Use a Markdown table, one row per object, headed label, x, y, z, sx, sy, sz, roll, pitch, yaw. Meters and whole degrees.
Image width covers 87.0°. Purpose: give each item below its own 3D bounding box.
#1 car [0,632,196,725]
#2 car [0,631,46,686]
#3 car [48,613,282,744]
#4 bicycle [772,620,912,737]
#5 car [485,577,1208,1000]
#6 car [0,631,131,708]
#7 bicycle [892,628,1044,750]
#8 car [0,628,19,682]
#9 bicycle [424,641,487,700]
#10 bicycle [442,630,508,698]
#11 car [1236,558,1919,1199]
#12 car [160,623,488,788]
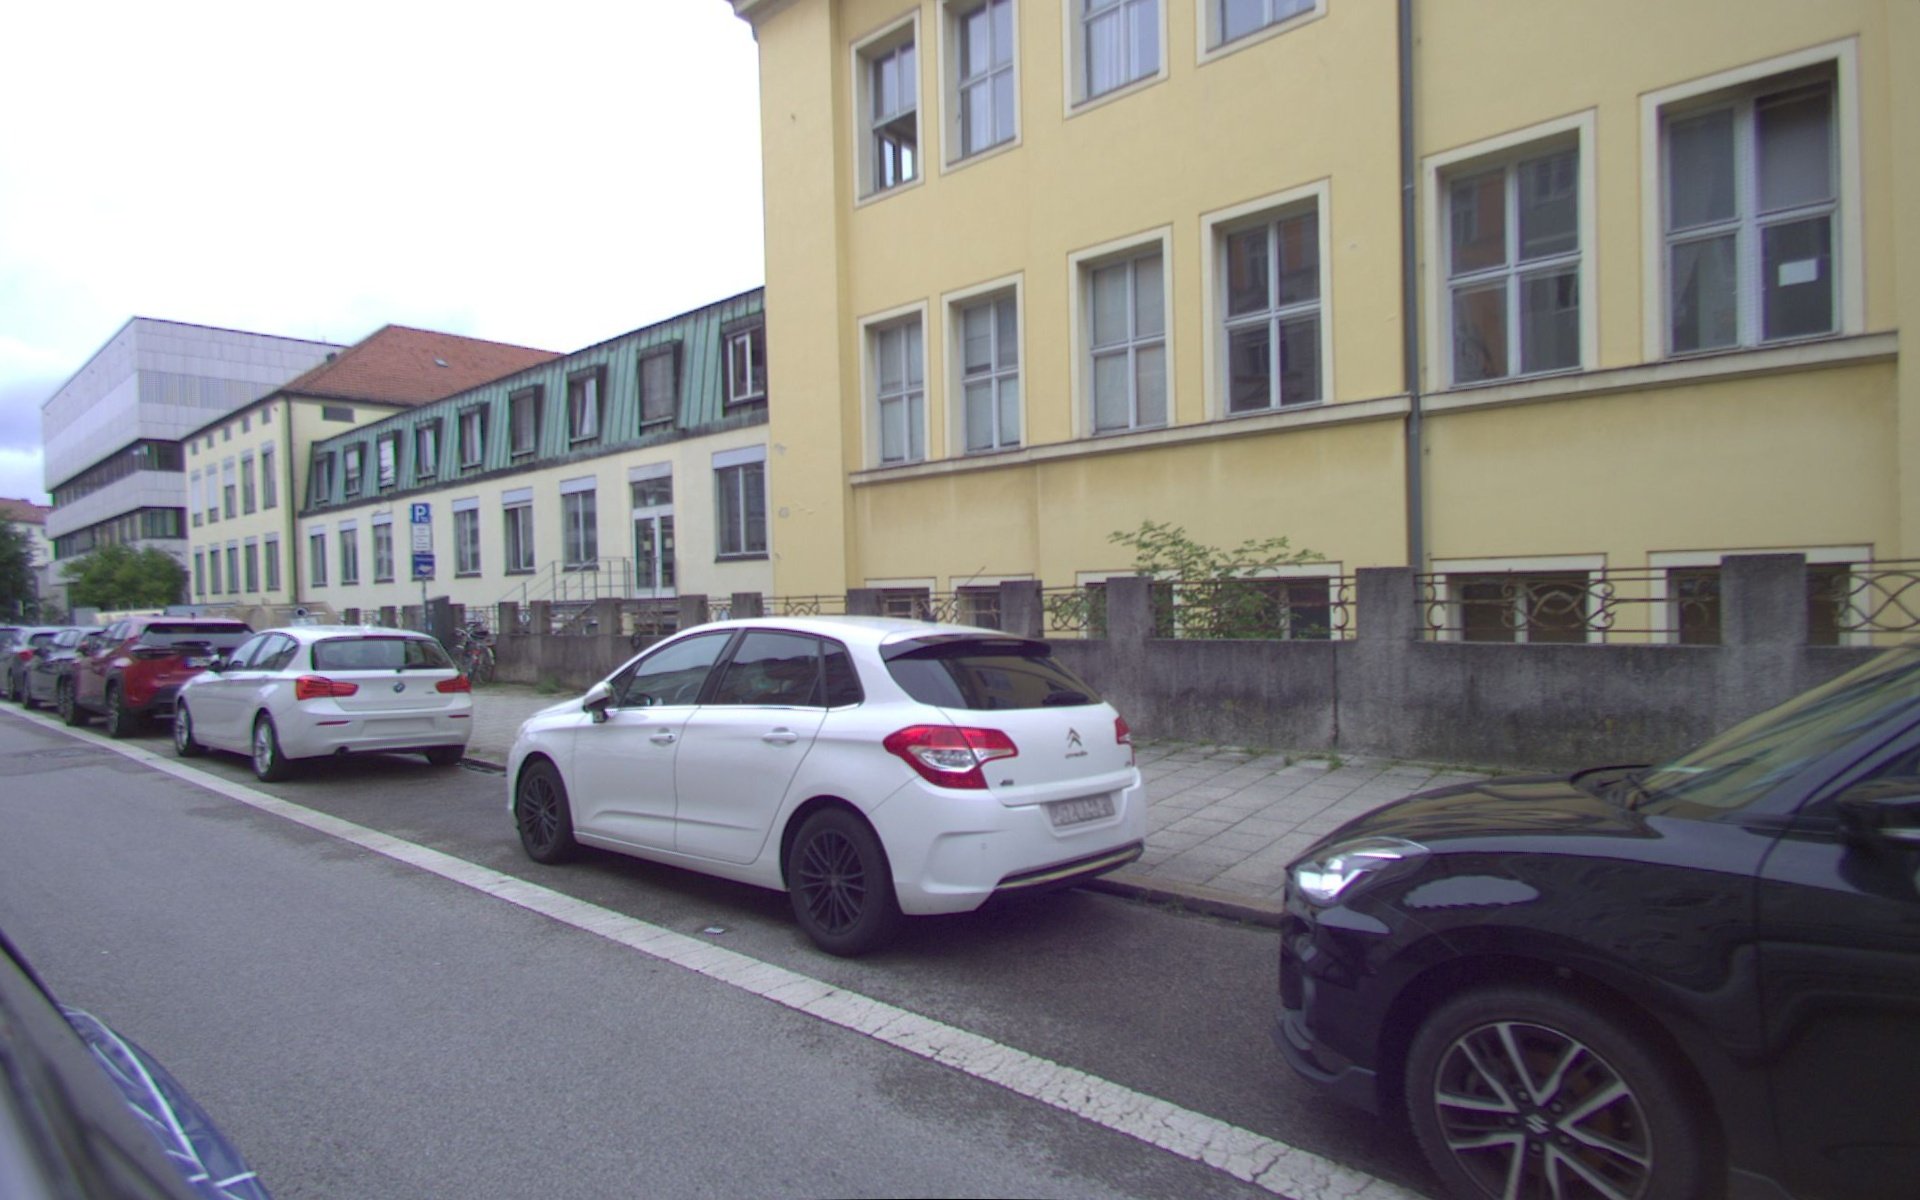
| label | x | y | z | sx | sy | sz | roll | pitch | yaw |
| --- | --- | --- | --- | --- | --- | --- | --- | --- | --- |
| car | -14.735 | 1.263 | 17.238 | 3.983 | 1.416 | 1.659 | -2 | -3 | 37 |
| car | -26.394 | 1.565 | 27.681 | 3.999 | 1.416 | 1.677 | -2 | -3 | 43 |
| car | -11.134 | 1.019 | 14.095 | 3.992 | 1.578 | 1.658 | -2 | -3 | 39 |
| bicycle | -1.374 | 0.854 | 11.559 | 1.717 | 1.206 | 0.579 | -2 | 1 | 44 |
| car | -0.865 | 0.772 | 5.691 | 4.084 | 1.539 | 1.705 | -2 | -4 | 41 |
| car | -18.549 | 1.352 | 20.583 | 4.122 | 1.416 | 1.776 | -2 | -3 | 39 |
| bicycle | 0.047 | 0.861 | 10.374 | 0.578 | 1.085 | 1.721 | -4 | 1 | -37 |
| car | -30.125 | 1.648 | 30.754 | 3.863 | 1.574 | 1.679 | -2 | -3 | 39 |
| bicycle | -9.256 | 1.271 | 18.539 | 1.741 | 1.002 | 0.450 | -2 | 1 | 44 |
| bicycle | -9.125 | 1.177 | 19.007 | 1.938 | 1.181 | 0.419 | -2 | 1 | 44 |
| car | 2.783 | 0.687 | 2.029 | 3.983 | 1.507 | 1.662 | -2 | -3 | 41 |
| car | -6.731 | 0.979 | 10.564 | 3.992 | 1.409 | 1.658 | -2 | -3 | 39 |
